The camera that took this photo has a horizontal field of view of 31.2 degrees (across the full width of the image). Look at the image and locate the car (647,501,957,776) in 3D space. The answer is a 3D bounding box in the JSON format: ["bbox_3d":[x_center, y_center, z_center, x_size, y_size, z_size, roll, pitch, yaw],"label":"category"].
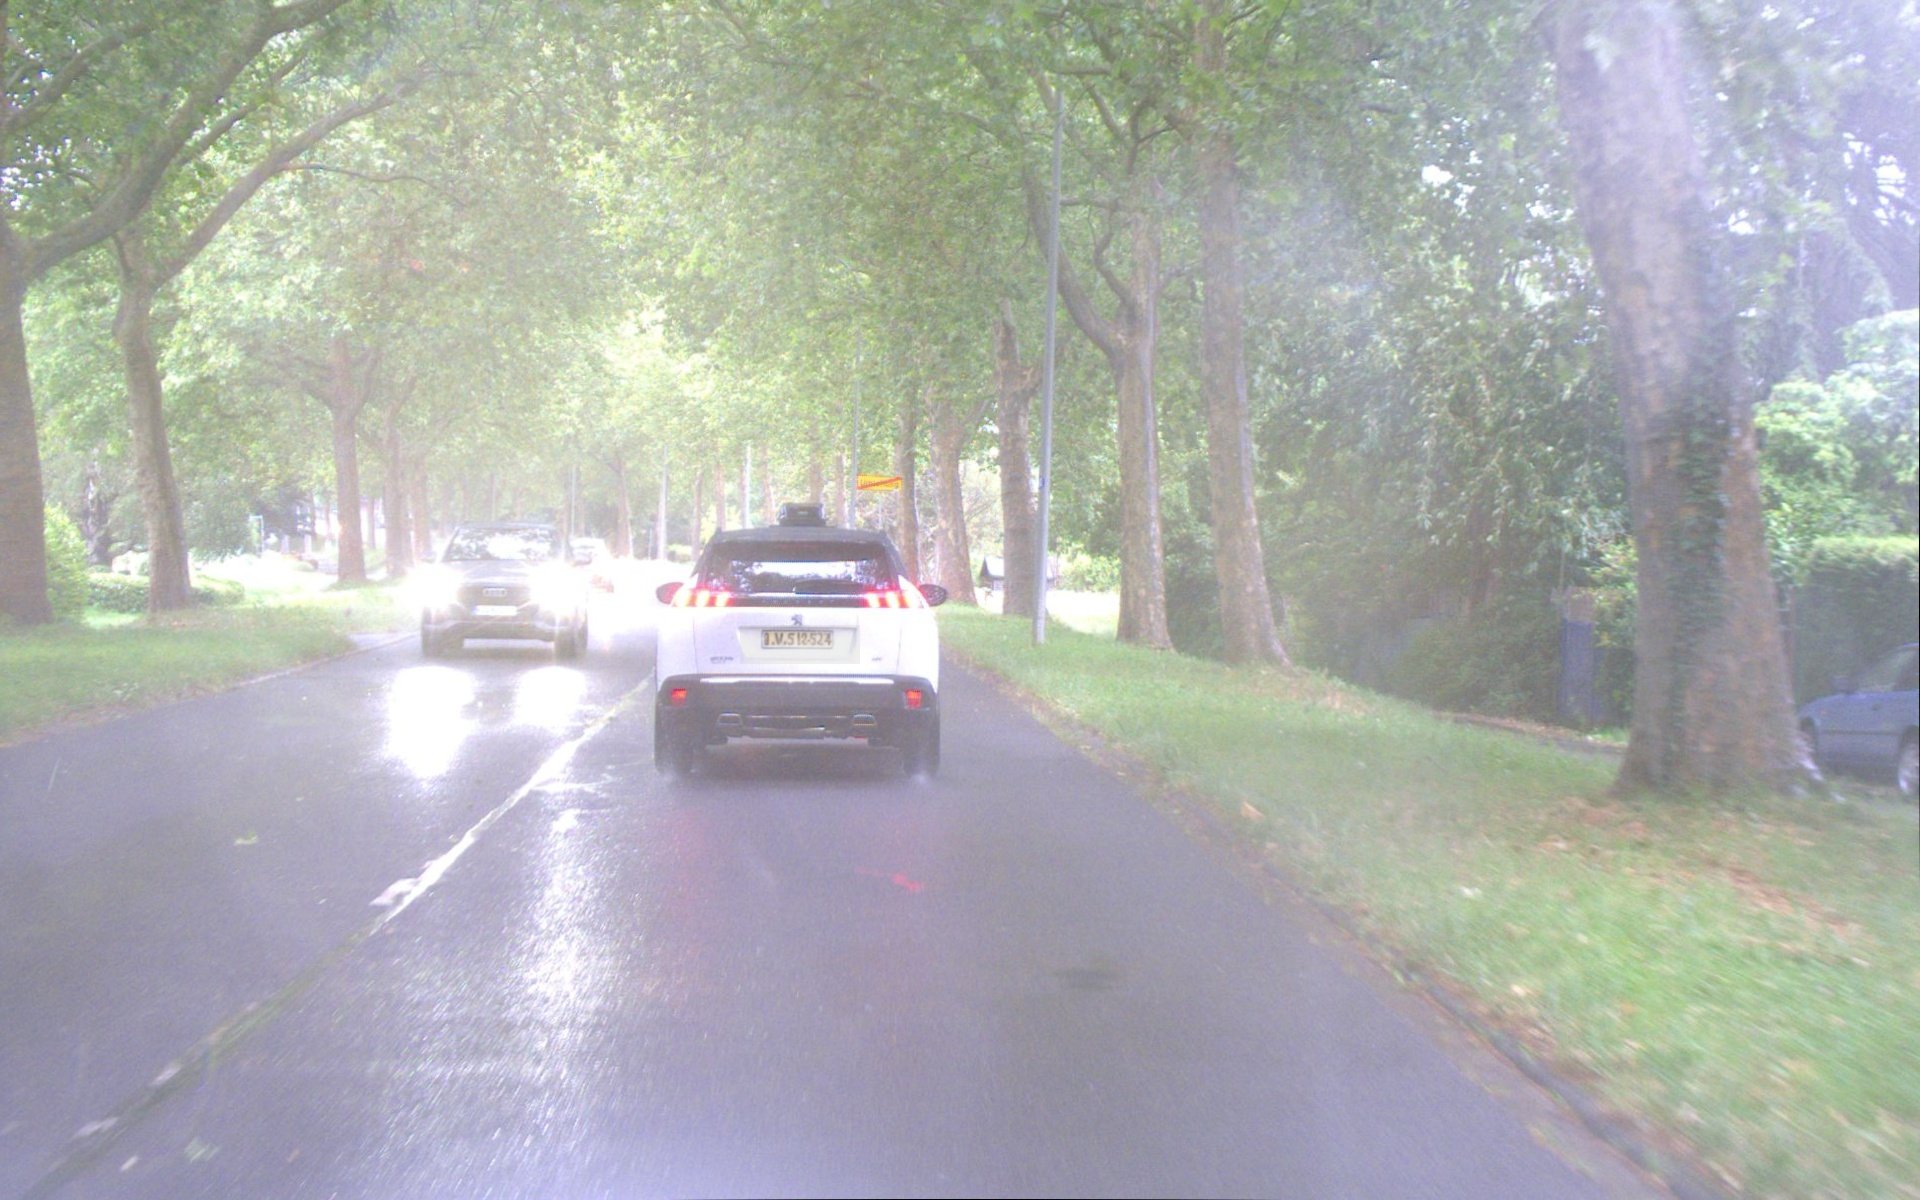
[{"bbox_3d":[-0.942,0.193,22.382,1.794,1.573,3.844,2,1,0],"label":"car"}]

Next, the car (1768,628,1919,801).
[{"bbox_3d":[8.529,1.036,29.437,1.795,1.321,4.001,6,0,-6],"label":"car"}]

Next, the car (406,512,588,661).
[{"bbox_3d":[-5.744,-0.196,43.128,1.808,1.722,4.455,2,1,-2],"label":"car"}]

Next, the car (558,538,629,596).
[{"bbox_3d":[-10.005,-0.918,93.863,1.845,1.497,4.001,2,1,-6],"label":"car"}]
